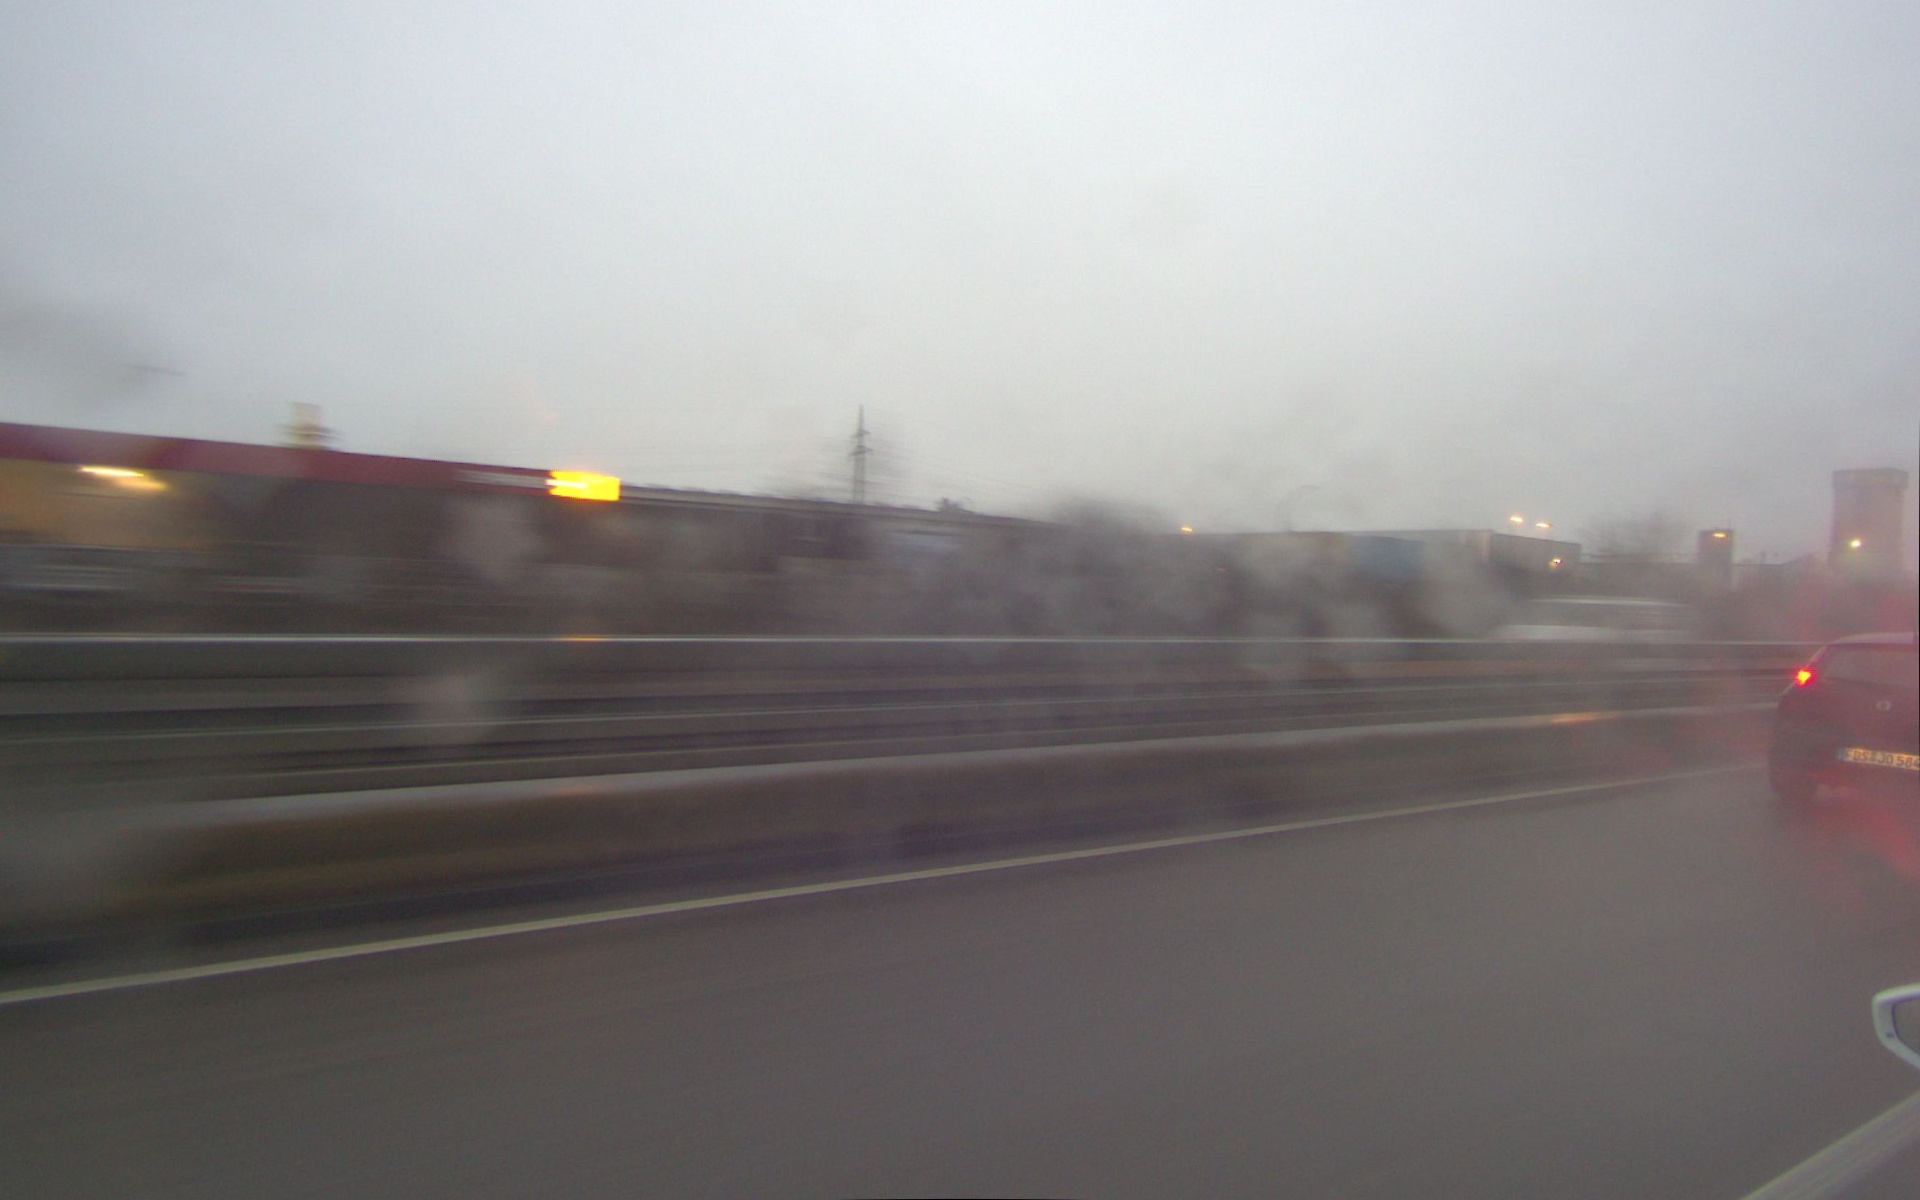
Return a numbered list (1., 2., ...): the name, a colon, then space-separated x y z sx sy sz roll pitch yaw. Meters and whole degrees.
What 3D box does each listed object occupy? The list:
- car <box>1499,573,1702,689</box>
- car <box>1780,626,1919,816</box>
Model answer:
1. car: 15.146 0.763 23.700 4.831 2.326 1.919 5 -1 -30
2. car: 9.024 1.007 8.791 3.955 1.410 1.617 2 1 -32
